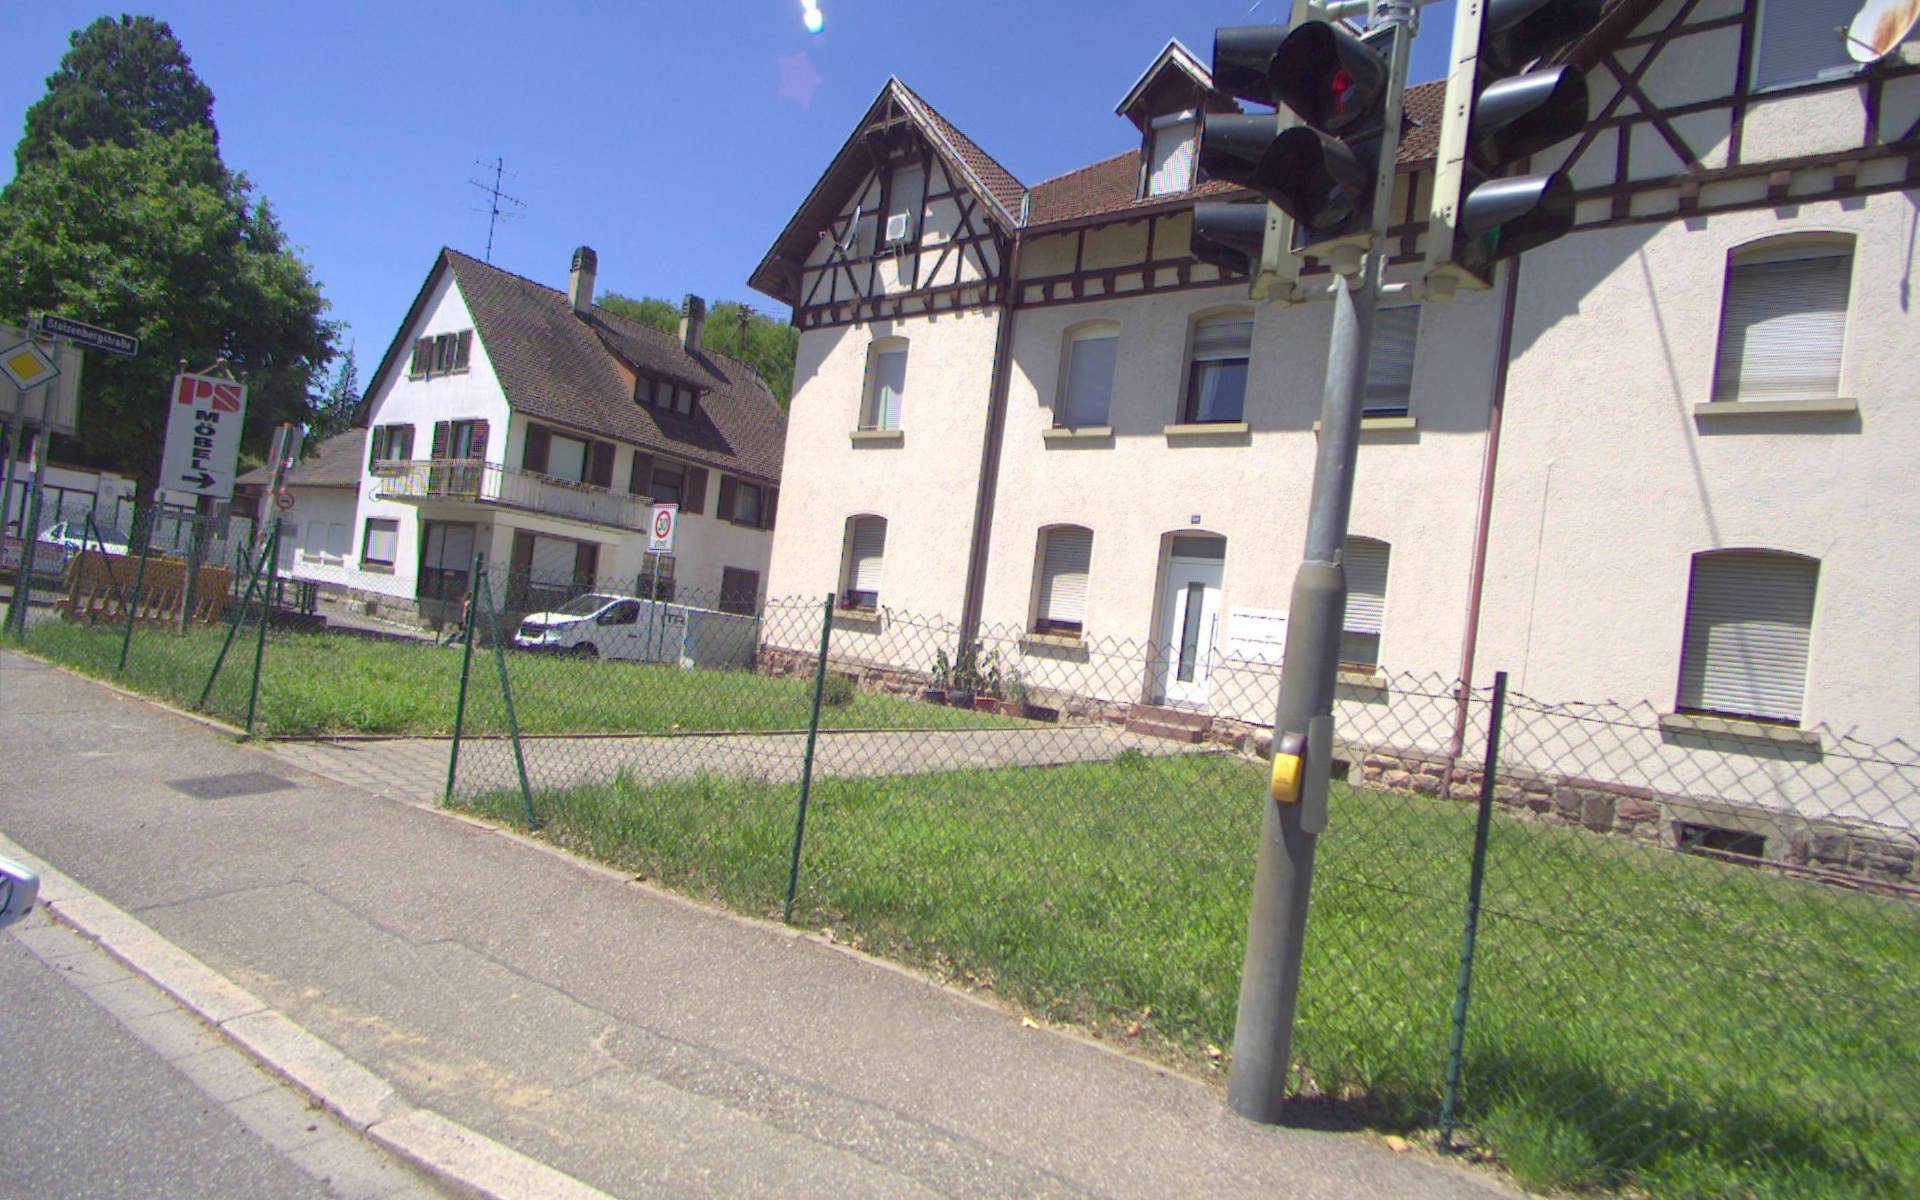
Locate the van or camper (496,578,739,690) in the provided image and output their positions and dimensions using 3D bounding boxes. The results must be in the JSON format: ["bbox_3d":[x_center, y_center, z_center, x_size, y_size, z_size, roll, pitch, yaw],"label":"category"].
[{"bbox_3d":[-8.381,0.920,25.159,1.971,1.998,5.351,5,-6,39],"label":"van or camper"}]

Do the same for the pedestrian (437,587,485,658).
[{"bbox_3d":[-12.117,0.556,24.439,0.563,1.619,0.696,7,0,30],"label":"pedestrian"}]

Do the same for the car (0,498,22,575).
[{"bbox_3d":[-23.623,-1.714,23.580,4.396,1.683,1.712,6,-4,40],"label":"car"}]

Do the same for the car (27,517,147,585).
[{"bbox_3d":[-21.994,-1.249,25.312,3.337,1.284,1.711,7,-2,41],"label":"car"}]
